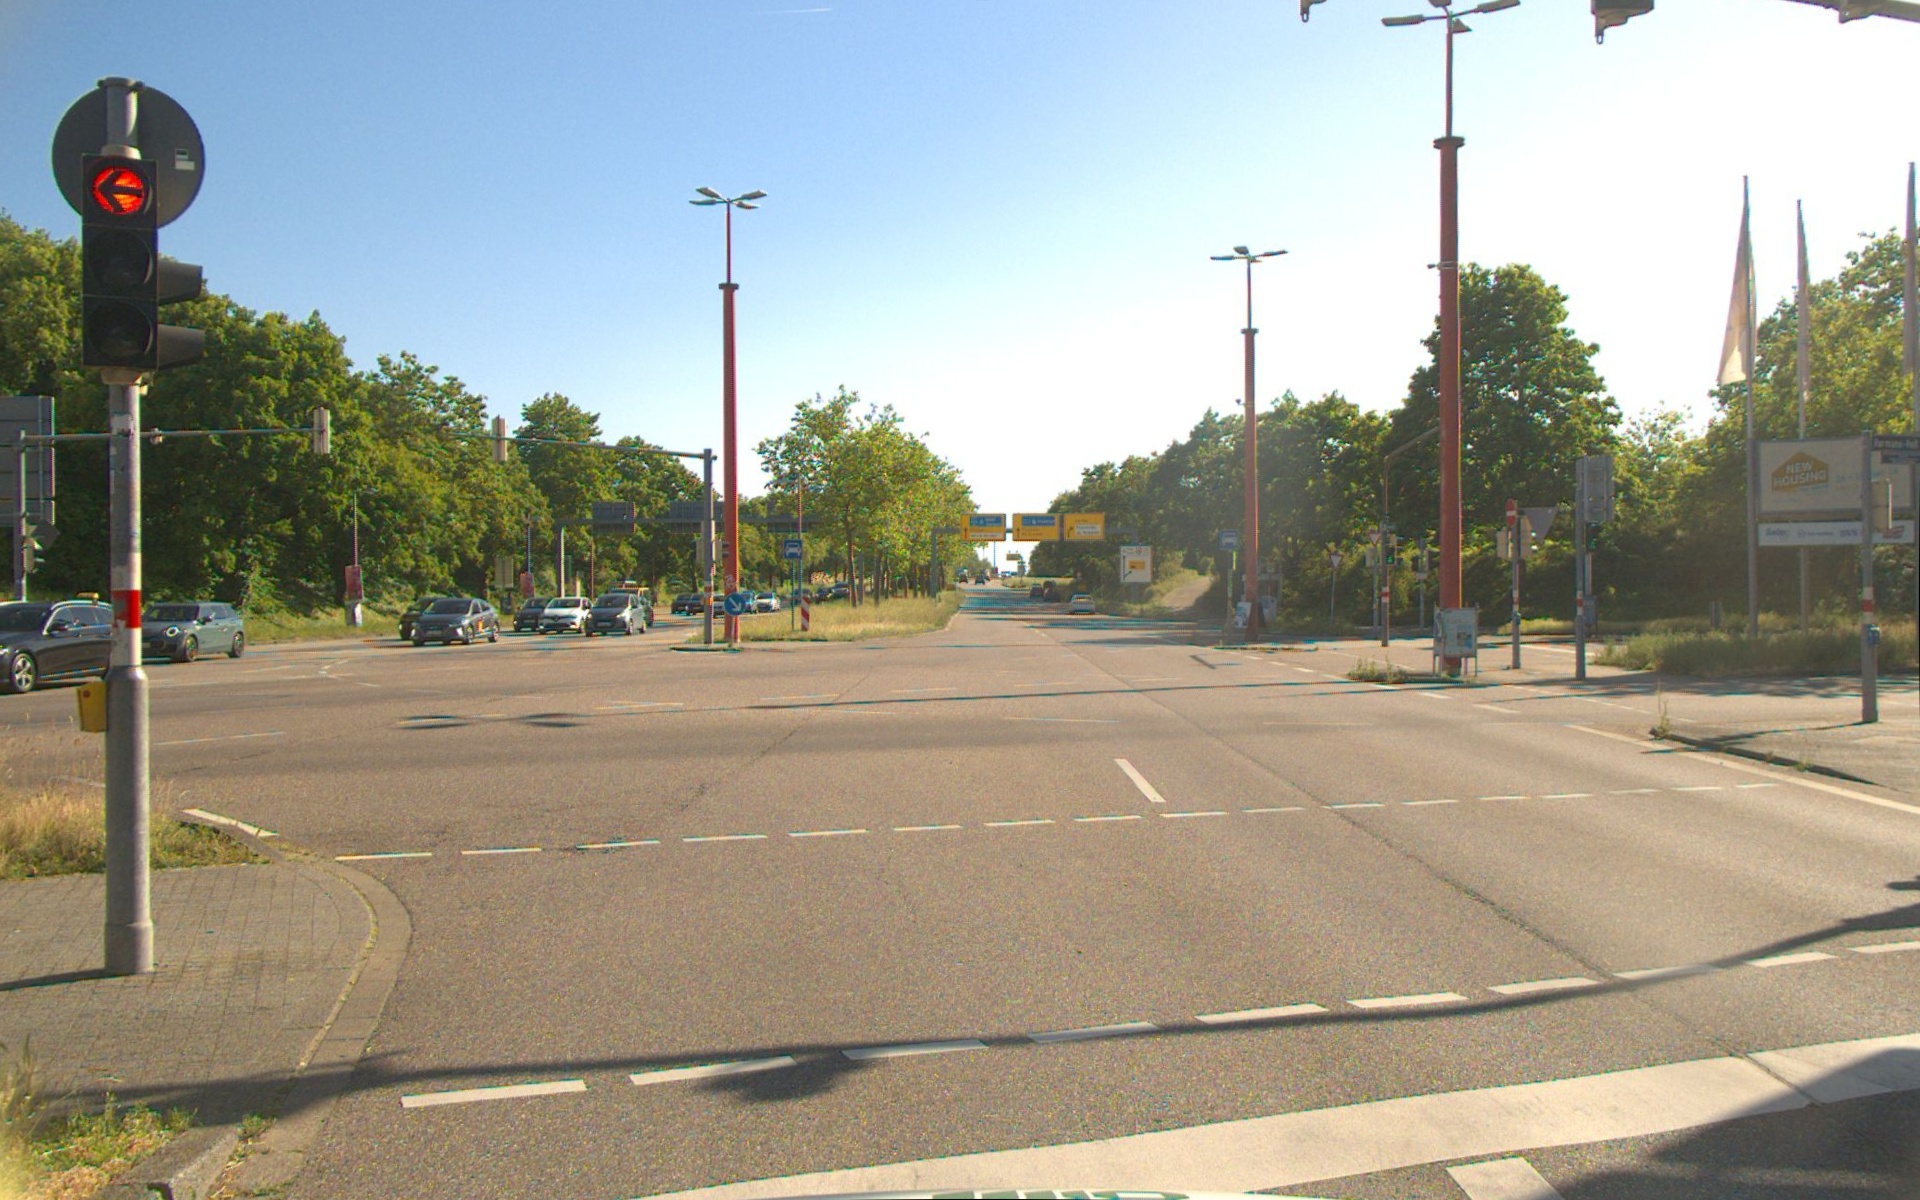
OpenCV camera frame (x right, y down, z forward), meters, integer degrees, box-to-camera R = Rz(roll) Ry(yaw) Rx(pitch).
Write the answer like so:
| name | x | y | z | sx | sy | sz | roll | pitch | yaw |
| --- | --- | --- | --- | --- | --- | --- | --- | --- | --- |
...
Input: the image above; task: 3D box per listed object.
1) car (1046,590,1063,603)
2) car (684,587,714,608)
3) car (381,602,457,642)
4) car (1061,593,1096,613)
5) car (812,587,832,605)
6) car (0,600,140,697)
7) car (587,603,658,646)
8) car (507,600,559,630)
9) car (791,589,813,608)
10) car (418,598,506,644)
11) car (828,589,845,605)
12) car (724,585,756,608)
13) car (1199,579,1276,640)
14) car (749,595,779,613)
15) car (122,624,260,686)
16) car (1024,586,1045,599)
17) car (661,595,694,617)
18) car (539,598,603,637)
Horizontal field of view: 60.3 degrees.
| name | x | y | z | sx | sy | sz | roll | pitch | yaw |
| --- | --- | --- | --- | --- | --- | --- | --- | --- | --- |
| car | 10.188 | -0.387 | 178.645 | 1.702 | 1.365 | 3.082 | 0 | 0 | 1 |
| car | -18.930 | -0.143 | 119.881 | 1.595 | 1.476 | 3.434 | 1 | 0 | 0 |
| car | -20.510 | 0.817 | 62.857 | 1.512 | 1.458 | 3.886 | -1 | 0 | 1 |
| car | 8.681 | 0.206 | 121.603 | 2.014 | 1.395 | 4.388 | 0 | 0 | -4 |
| car | -14.000 | -0.379 | 167.986 | 1.622 | 1.778 | 4.001 | 1 | 0 | 2 |
| car | -16.082 | 0.771 | 28.315 | 1.838 | 1.511 | 4.604 | 1 | 0 | -1 |
| car | -12.358 | 0.880 | 60.722 | 1.666 | 1.446 | 4.000 | 3 | 0 | 1 |
| car | -19.087 | 0.670 | 74.043 | 1.424 | 1.296 | 3.612 | 1 | 0 | -1 |
| car | -14.390 | -0.151 | 150.658 | 1.592 | 1.769 | 4.001 | 0 | 0 | 1 |
| car | -15.808 | 0.645 | 52.674 | 1.516 | 1.401 | 4.262 | 0 | 0 | 0 |
| car | -14.131 | -0.350 | 189.098 | 1.574 | 1.761 | 3.789 | 1 | 0 | 1 |
| car | -15.459 | -0.215 | 116.257 | 1.668 | 1.586 | 3.804 | 1 | 0 | 1 |
| car | 9.112 | 0.296 | 54.040 | 1.951 | 1.920 | 4.002 | 0 | 0 | 18 |
| car | -15.150 | 0.307 | 127.785 | 1.963 | 1.330 | 3.998 | 0 | 0 | -2 |
| car | -19.134 | 1.327 | 41.327 | 1.400 | 1.412 | 4.140 | 1 | 0 | 2 |
| car | 9.139 | -0.902 | 202.430 | 1.955 | 1.523 | 3.995 | 0 | 0 | -6 |
| car | -22.660 | 0.489 | 132.664 | 1.953 | 1.667 | 3.999 | 1 | 0 | -1 |
| car | -15.593 | 0.682 | 66.471 | 1.572 | 1.485 | 3.951 | 0 | 0 | 1 |
